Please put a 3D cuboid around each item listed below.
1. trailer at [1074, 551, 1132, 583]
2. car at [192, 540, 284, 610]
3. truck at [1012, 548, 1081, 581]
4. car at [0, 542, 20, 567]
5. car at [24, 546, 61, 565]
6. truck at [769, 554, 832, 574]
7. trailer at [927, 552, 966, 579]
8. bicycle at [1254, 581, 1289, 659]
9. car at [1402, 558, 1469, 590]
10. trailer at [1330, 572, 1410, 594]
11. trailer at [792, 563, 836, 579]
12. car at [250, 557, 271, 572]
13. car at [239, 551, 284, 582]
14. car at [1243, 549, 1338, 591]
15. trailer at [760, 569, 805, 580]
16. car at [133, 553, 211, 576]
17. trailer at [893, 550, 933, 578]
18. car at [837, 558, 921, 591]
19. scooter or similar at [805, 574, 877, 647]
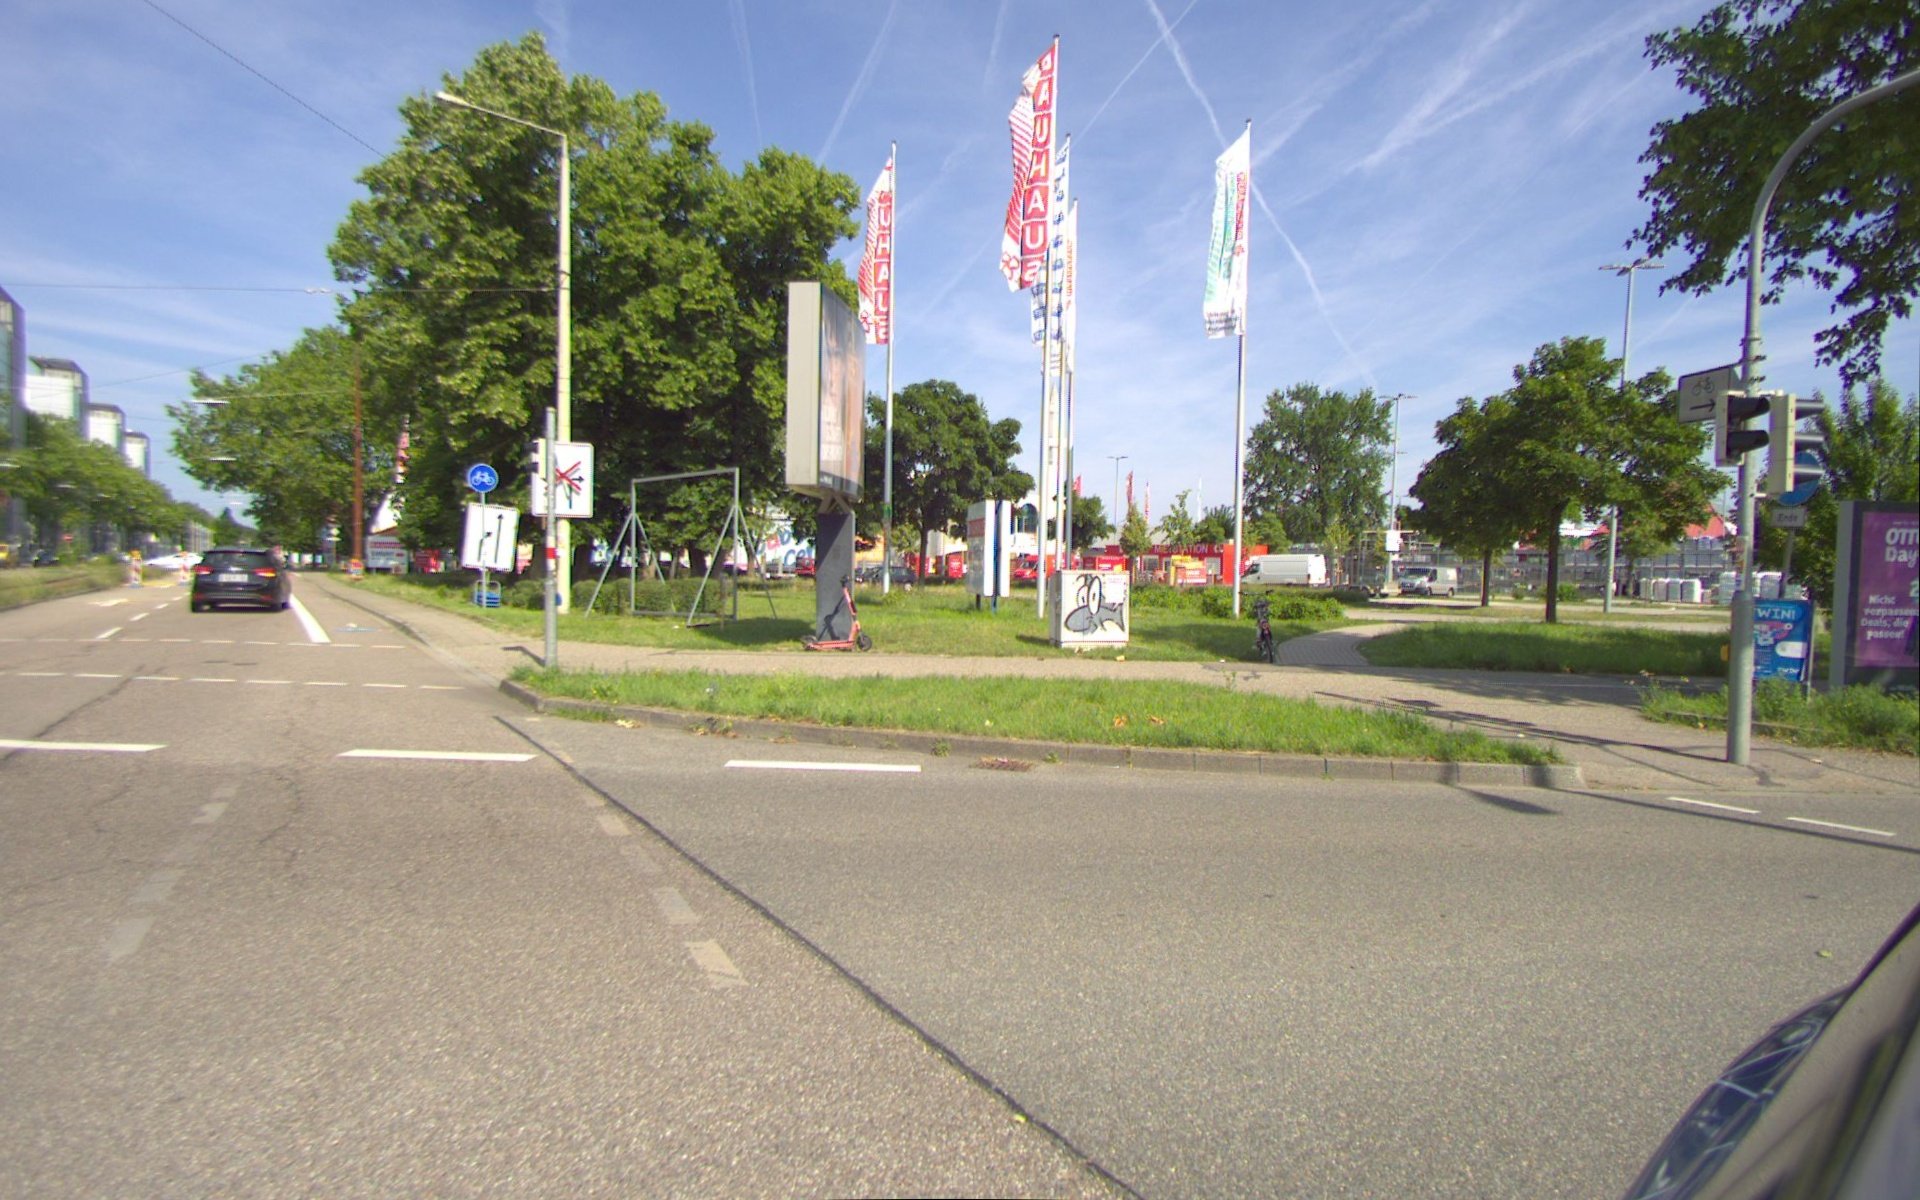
[{"bbox_3d":[11.183,-2.587,79.094,4.325,2.405,1.753,0,2,-33],"label":"trailer"},{"bbox_3d":[-18.341,-0.676,25.848,1.779,1.625,4.380,-1,2,-34],"label":"car"},{"bbox_3d":[7.155,-2.897,83.328,5.921,2.641,2.018,0,2,-39],"label":"truck"},{"bbox_3d":[-72.473,-3.422,76.294,1.748,1.832,4.627,-1,2,-36],"label":"car"},{"bbox_3d":[-83.369,-4.046,92.002,1.879,1.709,4.628,-1,2,-35],"label":"car"},{"bbox_3d":[-15.935,-3.576,101.498,5.891,1.855,2.187,0,0,-35],"label":"truck"},{"bbox_3d":[-1.259,-3.173,92.203,1.520,2.387,4.417,0,2,-30],"label":"trailer"},{"bbox_3d":[5.090,0.292,16.480,0.497,1.121,1.782,1,3,18],"label":"bicycle"},{"bbox_3d":[29.914,-1.610,63.623,4.742,1.838,1.874,0,3,-38],"label":"car"},{"bbox_3d":[24.463,-1.050,60.497,2.030,1.136,4.033,-3,4,-34],"label":"trailer"},{"bbox_3d":[-12.101,-2.399,83.452,1.563,1.303,4.407,-1,2,-39],"label":"trailer"},{"bbox_3d":[-73.204,-3.752,105.930,1.816,1.529,4.345,-1,2,-35],"label":"car"},{"bbox_3d":[-35.962,-1.727,52.056,1.816,1.529,4.395,-1,2,-36],"label":"car"},{"bbox_3d":[21.159,-1.960,65.016,1.983,2.573,5.686,-3,4,-38],"label":"car"},{"bbox_3d":[-14.248,-2.076,81.194,2.058,0.792,4.416,-1,2,-32],"label":"trailer"},{"bbox_3d":[-59.439,-2.659,76.378,4.544,1.709,1.914,-1,2,-40],"label":"car"},{"bbox_3d":[-4.237,-3.221,91.032,1.560,2.405,4.415,0,2,-33],"label":"trailer"},{"bbox_3d":[-4.162,-1.316,52.180,3.968,1.606,1.733,-1,2,-28],"label":"car"},{"bbox_3d":[-1.900,0.163,16.180,1.102,1.140,0.426,1,2,-1],"label":"scooter or similar"}]
